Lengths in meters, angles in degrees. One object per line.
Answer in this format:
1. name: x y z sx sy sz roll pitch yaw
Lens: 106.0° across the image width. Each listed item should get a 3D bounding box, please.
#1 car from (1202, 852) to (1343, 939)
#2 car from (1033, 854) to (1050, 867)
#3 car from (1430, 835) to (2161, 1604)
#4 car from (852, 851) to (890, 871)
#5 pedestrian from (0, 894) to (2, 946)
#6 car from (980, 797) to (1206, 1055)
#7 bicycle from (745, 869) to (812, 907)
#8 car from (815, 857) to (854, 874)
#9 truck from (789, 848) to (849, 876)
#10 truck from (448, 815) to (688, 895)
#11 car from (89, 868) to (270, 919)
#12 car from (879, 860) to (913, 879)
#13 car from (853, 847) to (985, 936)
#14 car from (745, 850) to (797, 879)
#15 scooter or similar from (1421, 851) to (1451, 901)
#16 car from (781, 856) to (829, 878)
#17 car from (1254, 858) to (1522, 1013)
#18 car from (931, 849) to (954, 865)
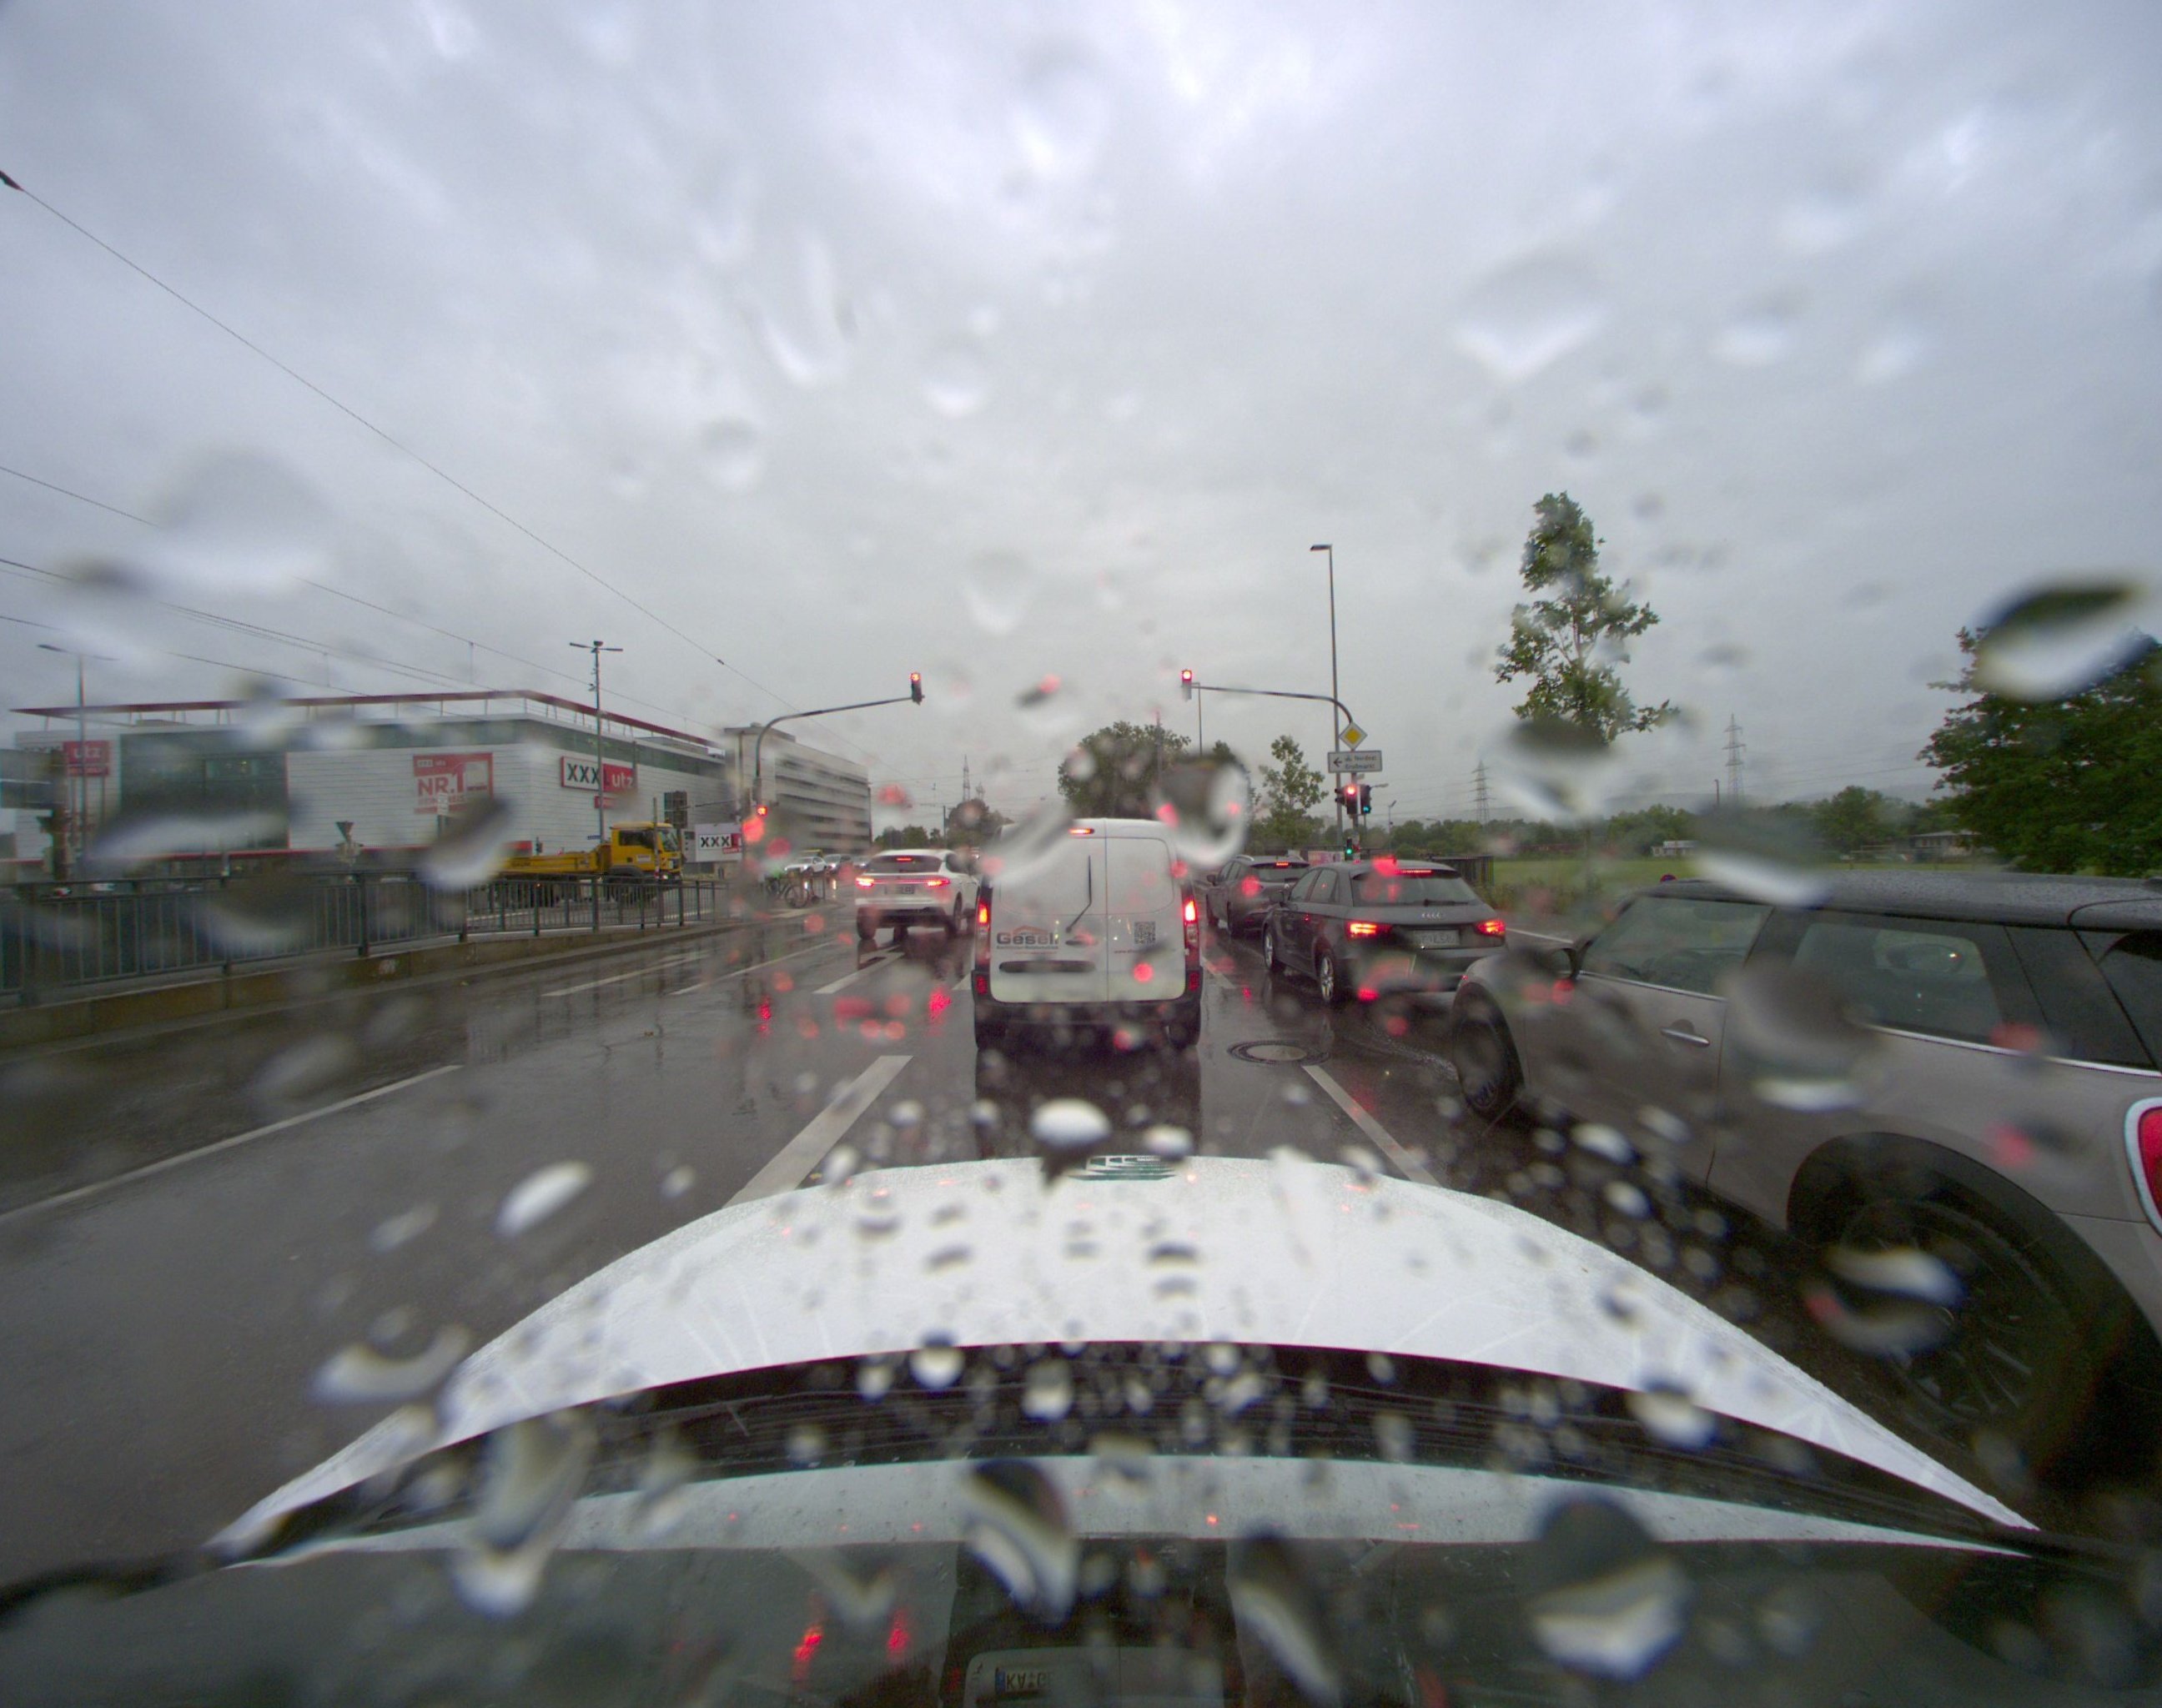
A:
1. car: 3.496 0.688 15.568 1.853 1.428 3.808 0 0 1
2. car: -4.588 0.741 94.532 1.613 1.503 3.705 0 -1 -8
3. car: 2.992 0.711 3.226 1.707 1.508 3.624 0 0 1
4. car: -18.273 0.594 70.968 1.883 1.699 4.006 0 -1 6
5. pedestrian: -32.357 1.962 23.768 0.561 1.537 0.872 0 -1 1
6. car: 0.148 0.518 7.727 1.560 1.788 4.002 -1 0 2
7. bicycle: -8.841 0.982 23.795 1.745 1.034 0.414 2 -1 0
8. car: -19.243 0.901 63.704 1.579 1.336 3.837 0 -1 6
9. truck: -22.200 0.658 69.414 2.342 2.279 7.637 0 0 2
10. truck: -19.007 0.023 30.665 7.126 2.816 2.631 -1 -1 -12
11. car: -31.620 1.350 28.681 4.069 1.660 1.613 0 -1 -12
12. car: -17.663 1.459 78.020 1.919 1.827 4.007 0 -1 6
13. car: -3.074 0.643 16.355 1.723 1.535 4.298 0 0 1
14. car: -23.068 0.770 60.700 1.983 2.014 4.007 0 -1 6
15. scooter or similar: 8.451 0.516 19.390 0.244 1.158 1.187 0 -1 3
16. car: -19.514 0.923 57.754 1.689 1.492 3.884 -1 -1 7
17. car: 3.083 0.729 8.968 1.623 1.344 3.624 0 0 1
18. car: -17.767 0.342 104.565 1.985 2.014 4.003 0 -1 3
